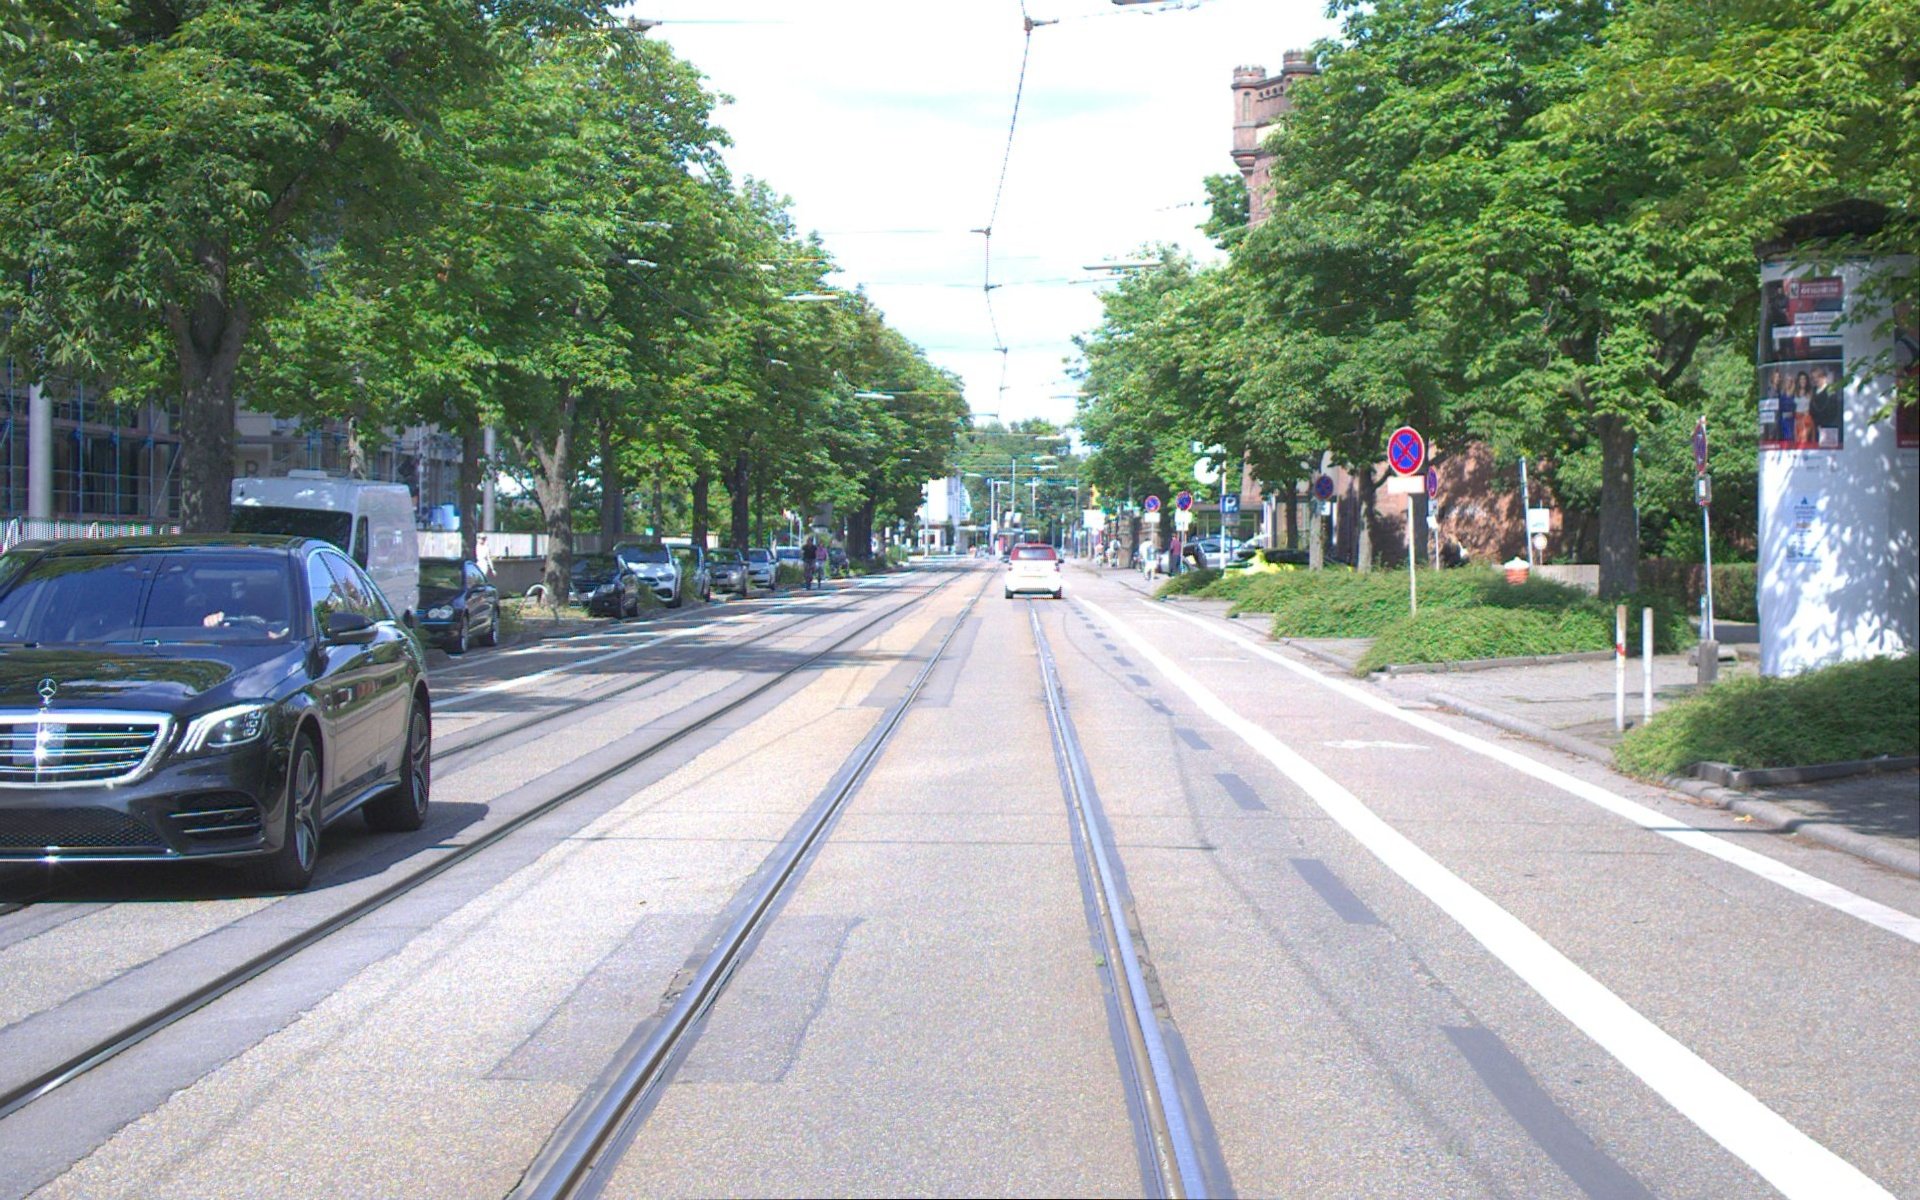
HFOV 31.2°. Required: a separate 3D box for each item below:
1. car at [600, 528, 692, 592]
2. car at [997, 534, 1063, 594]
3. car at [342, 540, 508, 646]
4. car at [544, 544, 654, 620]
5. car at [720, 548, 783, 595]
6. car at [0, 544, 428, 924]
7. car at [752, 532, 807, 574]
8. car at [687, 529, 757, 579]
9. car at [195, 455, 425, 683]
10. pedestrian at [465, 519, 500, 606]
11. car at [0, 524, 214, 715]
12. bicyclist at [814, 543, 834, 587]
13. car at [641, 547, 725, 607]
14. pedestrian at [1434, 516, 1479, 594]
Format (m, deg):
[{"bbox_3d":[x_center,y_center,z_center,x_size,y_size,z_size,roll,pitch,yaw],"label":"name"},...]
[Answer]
[{"bbox_3d":[-7.617,-0.994,83.631,1.804,1.511,4.103,1,1,1],"label":"car"},{"bbox_3d":[1.958,-1.036,97.077,1.665,1.619,3.621,0,1,-2],"label":"car"},{"bbox_3d":[-8.164,-0.139,52.765,1.804,1.511,4.103,2,1,1],"label":"car"},{"bbox_3d":[-7.636,-0.397,73.064,1.804,1.511,4.103,2,1,1],"label":"car"},{"bbox_3d":[-7.169,-0.993,118.324,1.804,1.511,4.103,2,1,1],"label":"car"},{"bbox_3d":[-3.737,0.502,16.014,1.800,1.503,4.536,1,1,0],"label":"car"},{"bbox_3d":[-6.795,-1.787,129.595,1.804,1.511,4.103,1,1,1],"label":"car"},{"bbox_3d":[-7.317,-1.435,105.869,1.804,1.511,4.103,1,1,1],"label":"car"},{"bbox_3d":[-8.096,-0.401,43.279,1.769,2.630,5.322,2,1,1],"label":"car"},{"bbox_3d":[-11.131,-0.872,80.172,0.802,2.007,0.485,0,1,-8],"label":"pedestrian"},{"bbox_3d":[-8.475,0.131,32.618,1.804,1.656,4.103,2,1,1],"label":"car"},{"bbox_3d":[-4.885,-1.271,123.754,0.658,1.574,0.946,2,1,-1],"label":"bicyclist"},{"bbox_3d":[-7.333,-0.634,91.335,1.804,1.511,4.103,2,1,1],"label":"car"},{"bbox_3d":[13.033,-1.170,90.262,0.977,2.007,1.093,2,1,0],"label":"pedestrian"}]
